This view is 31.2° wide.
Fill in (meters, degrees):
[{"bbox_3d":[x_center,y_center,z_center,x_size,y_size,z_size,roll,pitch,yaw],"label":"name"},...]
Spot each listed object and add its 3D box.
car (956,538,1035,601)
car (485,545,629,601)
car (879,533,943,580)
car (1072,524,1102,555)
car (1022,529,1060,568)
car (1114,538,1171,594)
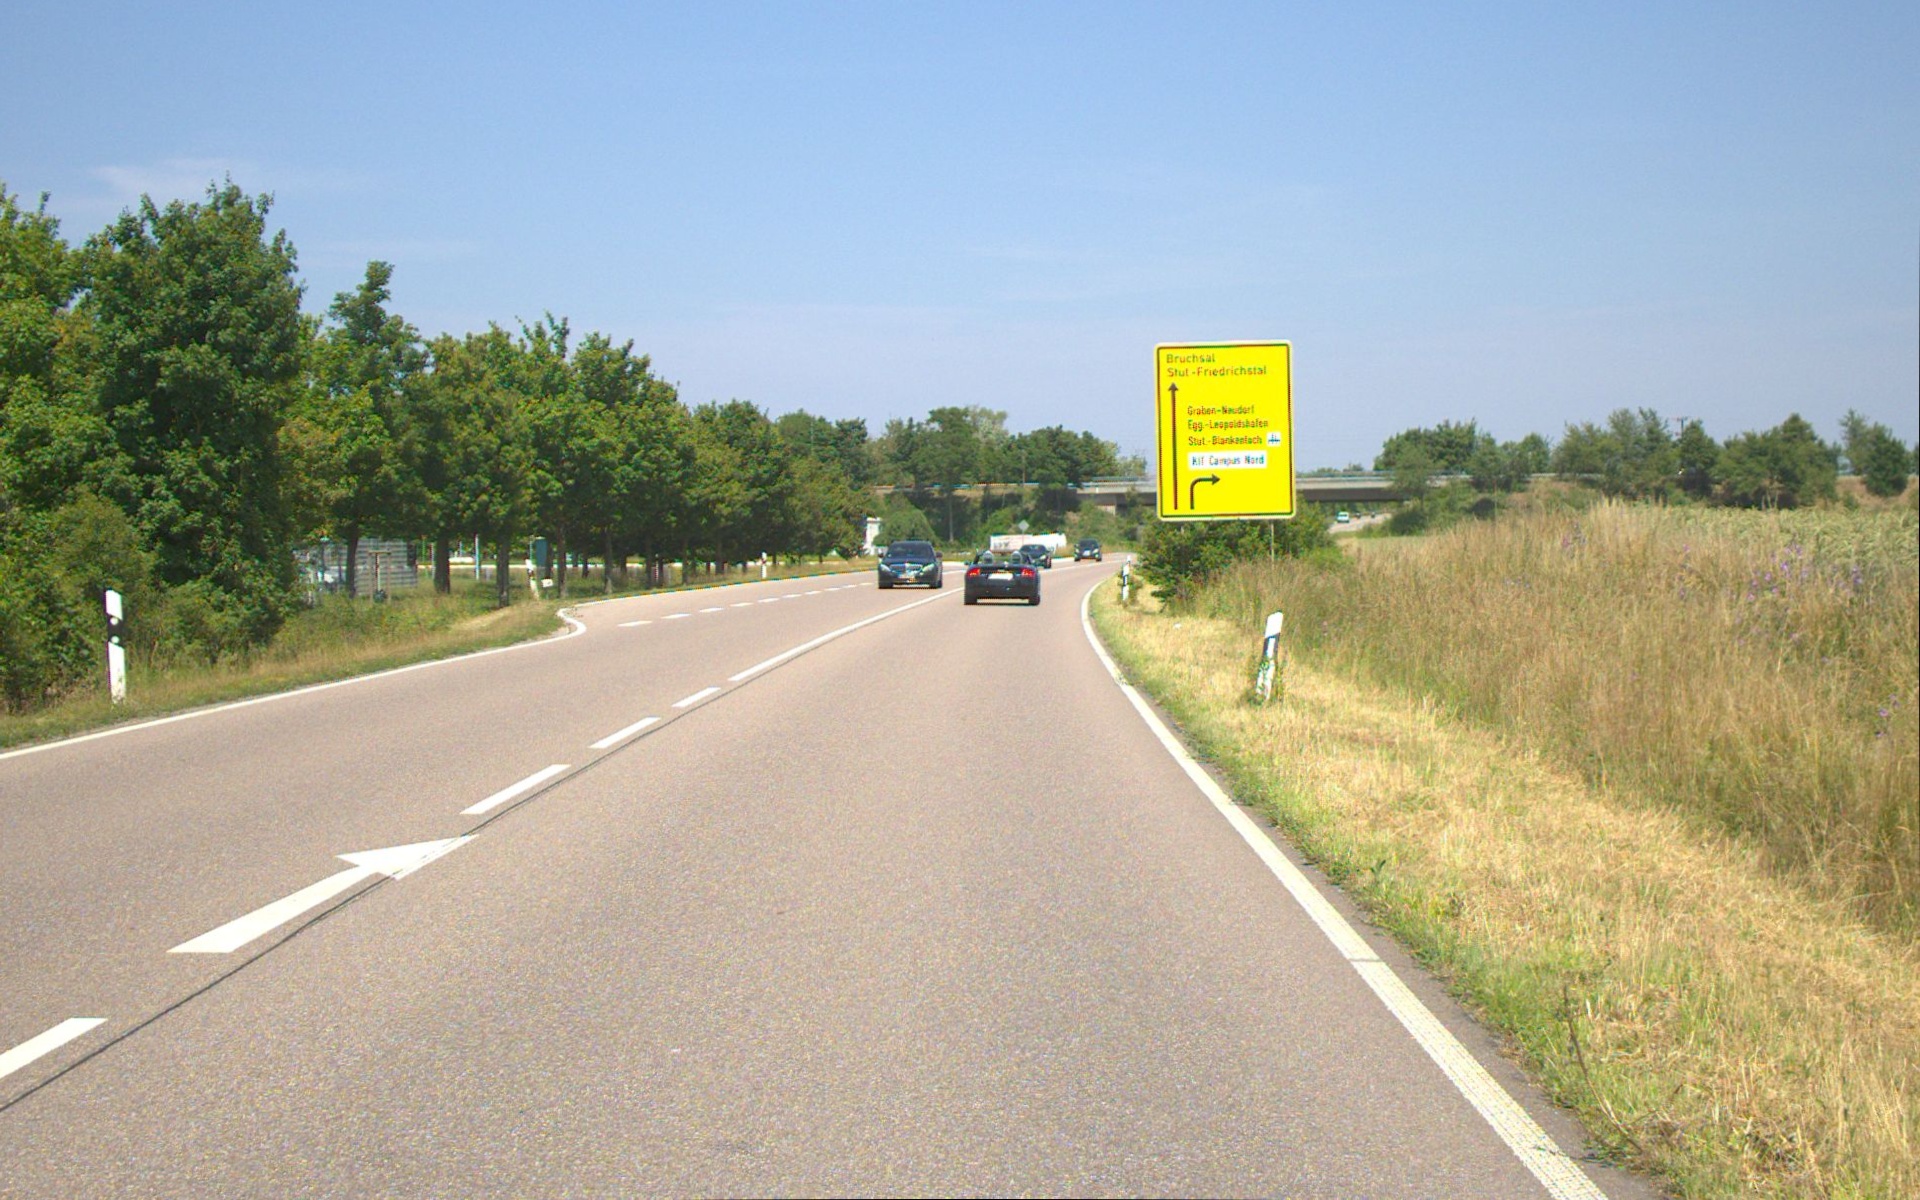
[{"bbox_3d":[0.838,-0.727,81.536,1.814,1.436,4.000,1,1,0],"label":"car"},{"bbox_3d":[-14.150,-0.962,120.739,4.649,1.947,1.827,0,1,-28],"label":"car"},{"bbox_3d":[-1.496,-1.356,106.535,1.781,1.415,4.534,0,1,1],"label":"car"},{"bbox_3d":[8.706,-4.132,235.999,1.994,2.007,4.000,1,0,3],"label":"car"},{"bbox_3d":[4.385,-2.790,185.226,1.993,2.007,4.000,1,1,2],"label":"car"},{"bbox_3d":[6.642,-1.229,125.301,1.747,2.007,4.000,1,0,-1],"label":"car"}]
